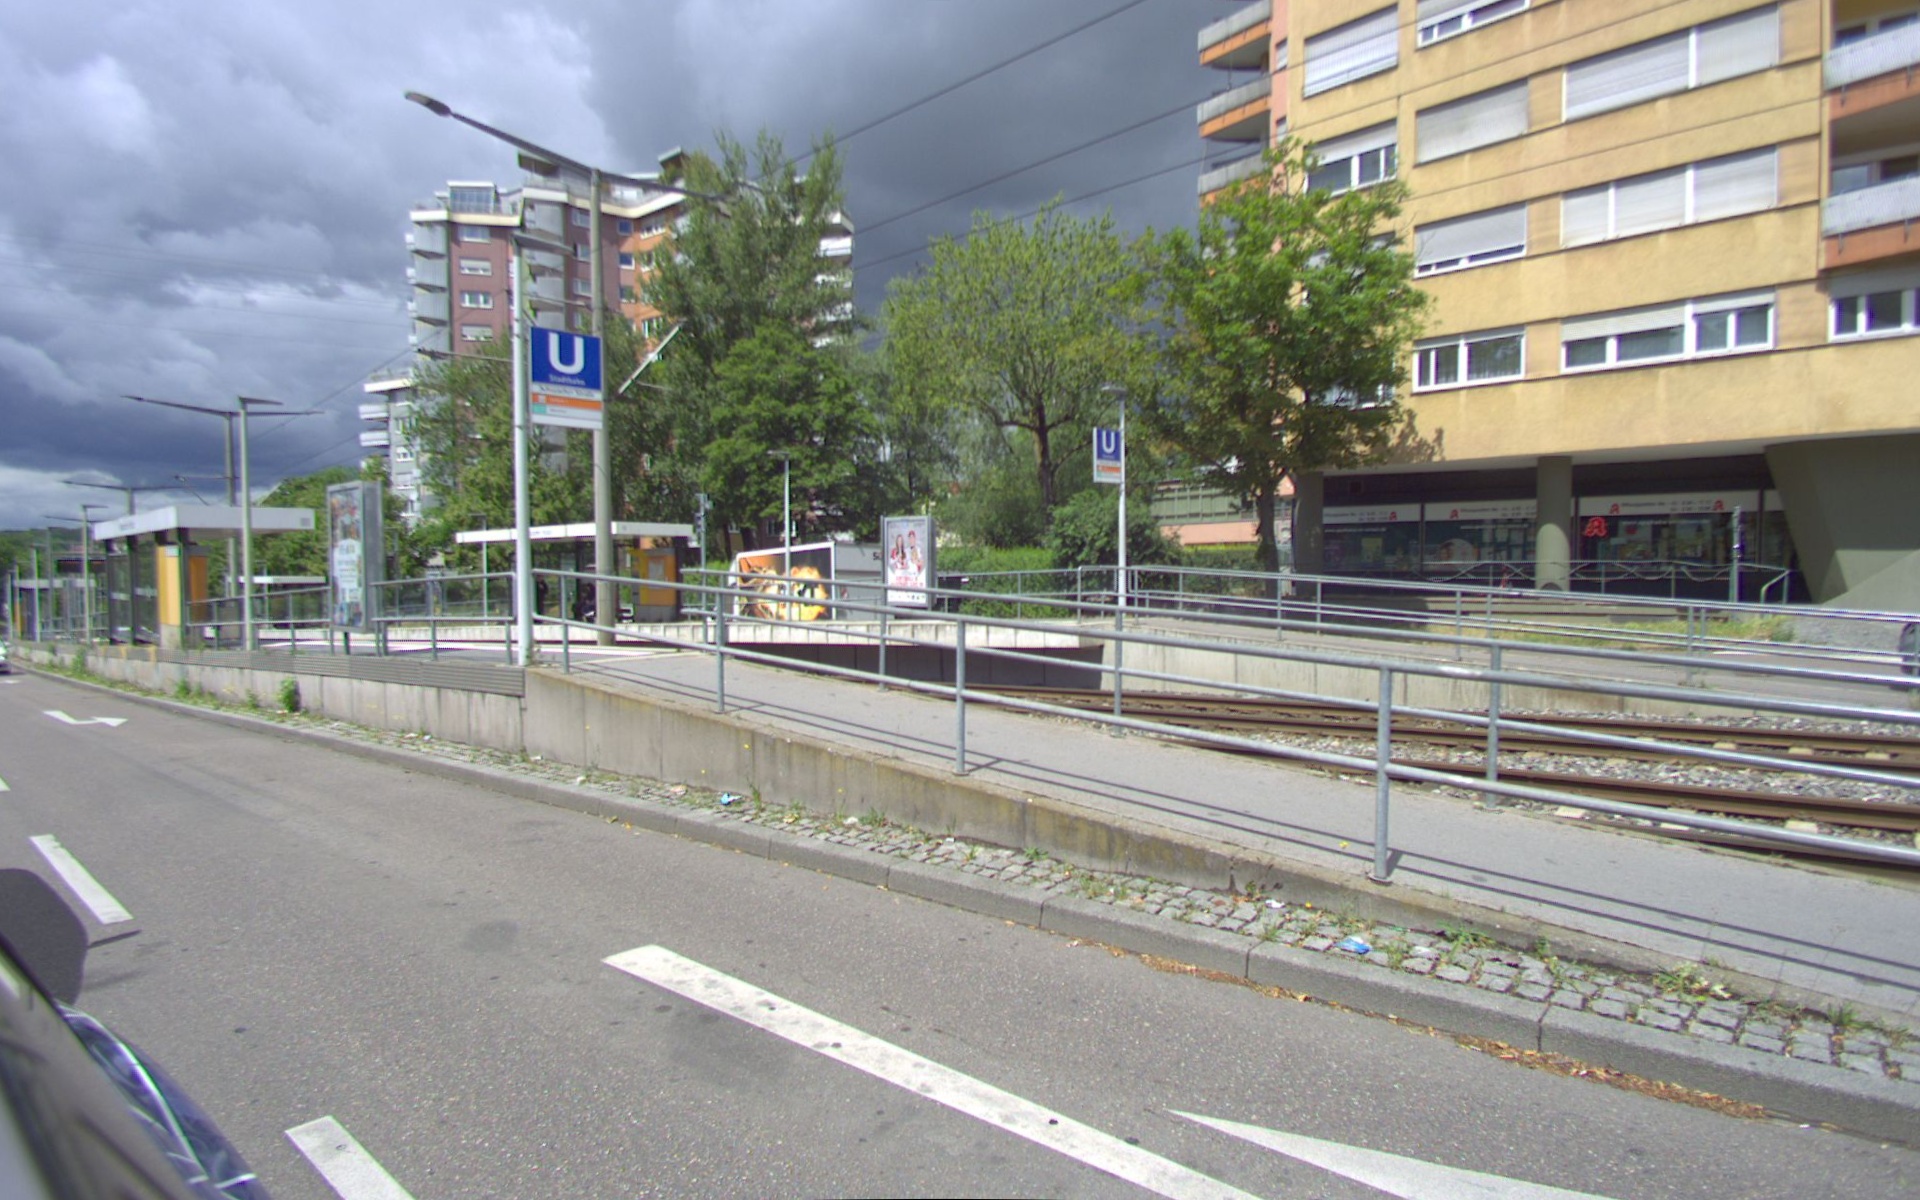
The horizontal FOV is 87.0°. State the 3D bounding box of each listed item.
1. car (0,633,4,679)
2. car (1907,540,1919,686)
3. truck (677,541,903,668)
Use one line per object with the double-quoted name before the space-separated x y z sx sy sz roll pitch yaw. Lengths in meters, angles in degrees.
"car" -33.432 1.881 33.885 3.998 1.472 1.710 -1 0 42
"car" 14.121 0.148 11.691 4.507 1.815 1.973 -1 -2 41
"truck" -5.102 0.200 29.273 7.260 3.247 2.389 -2 -1 42
